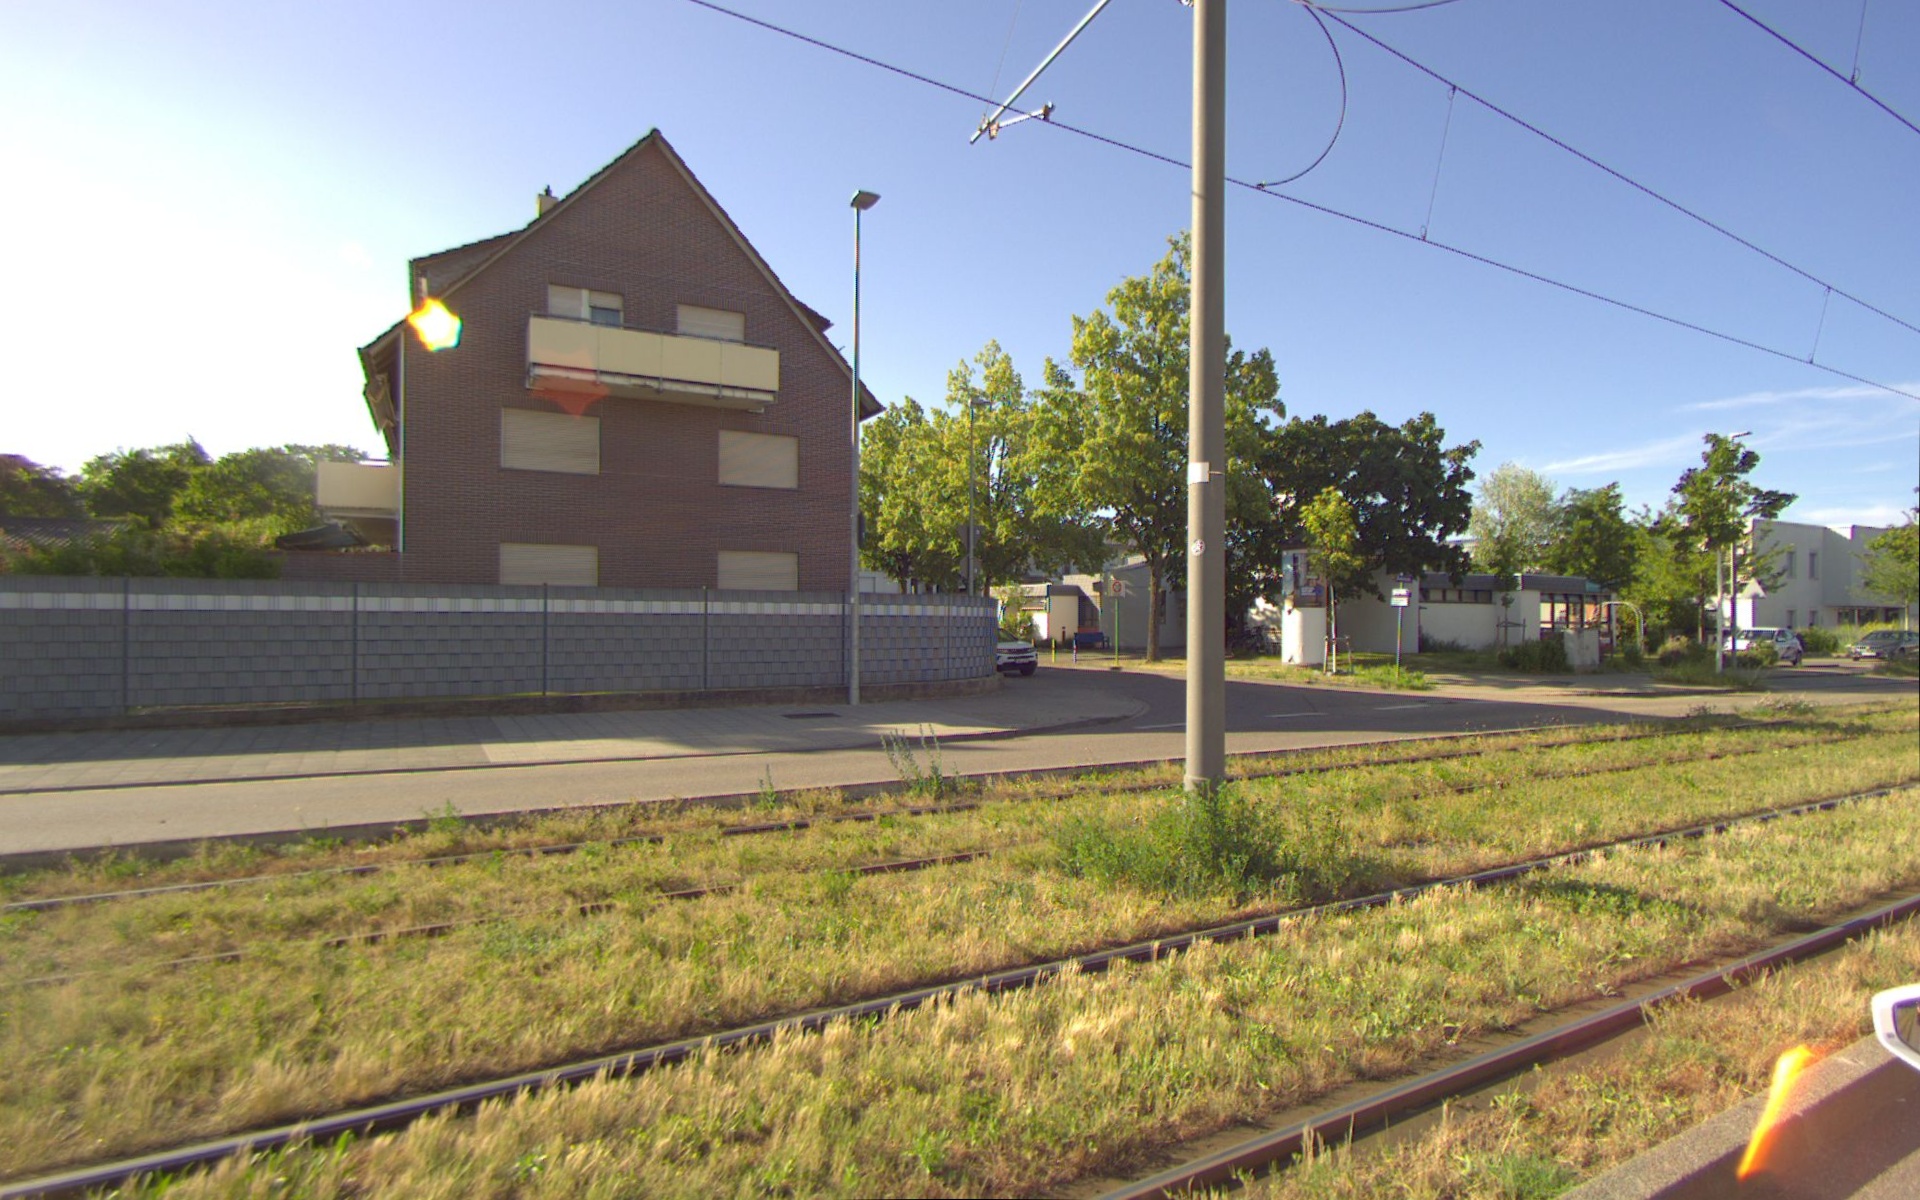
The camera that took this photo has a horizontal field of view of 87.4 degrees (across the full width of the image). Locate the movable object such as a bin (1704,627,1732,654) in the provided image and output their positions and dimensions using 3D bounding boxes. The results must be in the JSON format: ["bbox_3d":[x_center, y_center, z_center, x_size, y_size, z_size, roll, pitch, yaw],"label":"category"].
[{"bbox_3d":[40.944,2.178,54.250,1.237,1.453,0.662,1,0,-23],"label":"movable object such as a bin"}]

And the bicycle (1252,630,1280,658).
[{"bbox_3d":[12.266,1.760,40.313,1.041,1.097,0.303,-1,-1,43],"label":"bicycle"}]

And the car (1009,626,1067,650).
[{"bbox_3d":[4.164,2.031,54.139,1.324,1.228,4.005,1,-1,-25],"label":"car"}]

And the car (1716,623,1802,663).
[{"bbox_3d":[32.034,1.713,40.235,3.734,1.511,1.536,1,0,-32],"label":"car"}]

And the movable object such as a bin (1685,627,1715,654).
[{"bbox_3d":[39.498,2.166,53.597,1.401,1.401,0.662,1,0,-23],"label":"movable object such as a bin"}]

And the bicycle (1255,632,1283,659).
[{"bbox_3d":[12.472,1.822,40.562,1.025,1.073,0.303,-1,-1,43],"label":"bicycle"}]

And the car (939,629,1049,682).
[{"bbox_3d":[1.048,1.734,32.524,1.817,1.449,3.843,-1,1,-30],"label":"car"}]

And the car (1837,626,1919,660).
[{"bbox_3d":[43.215,2.007,47.009,4.261,1.480,1.804,1,0,-27],"label":"car"}]
